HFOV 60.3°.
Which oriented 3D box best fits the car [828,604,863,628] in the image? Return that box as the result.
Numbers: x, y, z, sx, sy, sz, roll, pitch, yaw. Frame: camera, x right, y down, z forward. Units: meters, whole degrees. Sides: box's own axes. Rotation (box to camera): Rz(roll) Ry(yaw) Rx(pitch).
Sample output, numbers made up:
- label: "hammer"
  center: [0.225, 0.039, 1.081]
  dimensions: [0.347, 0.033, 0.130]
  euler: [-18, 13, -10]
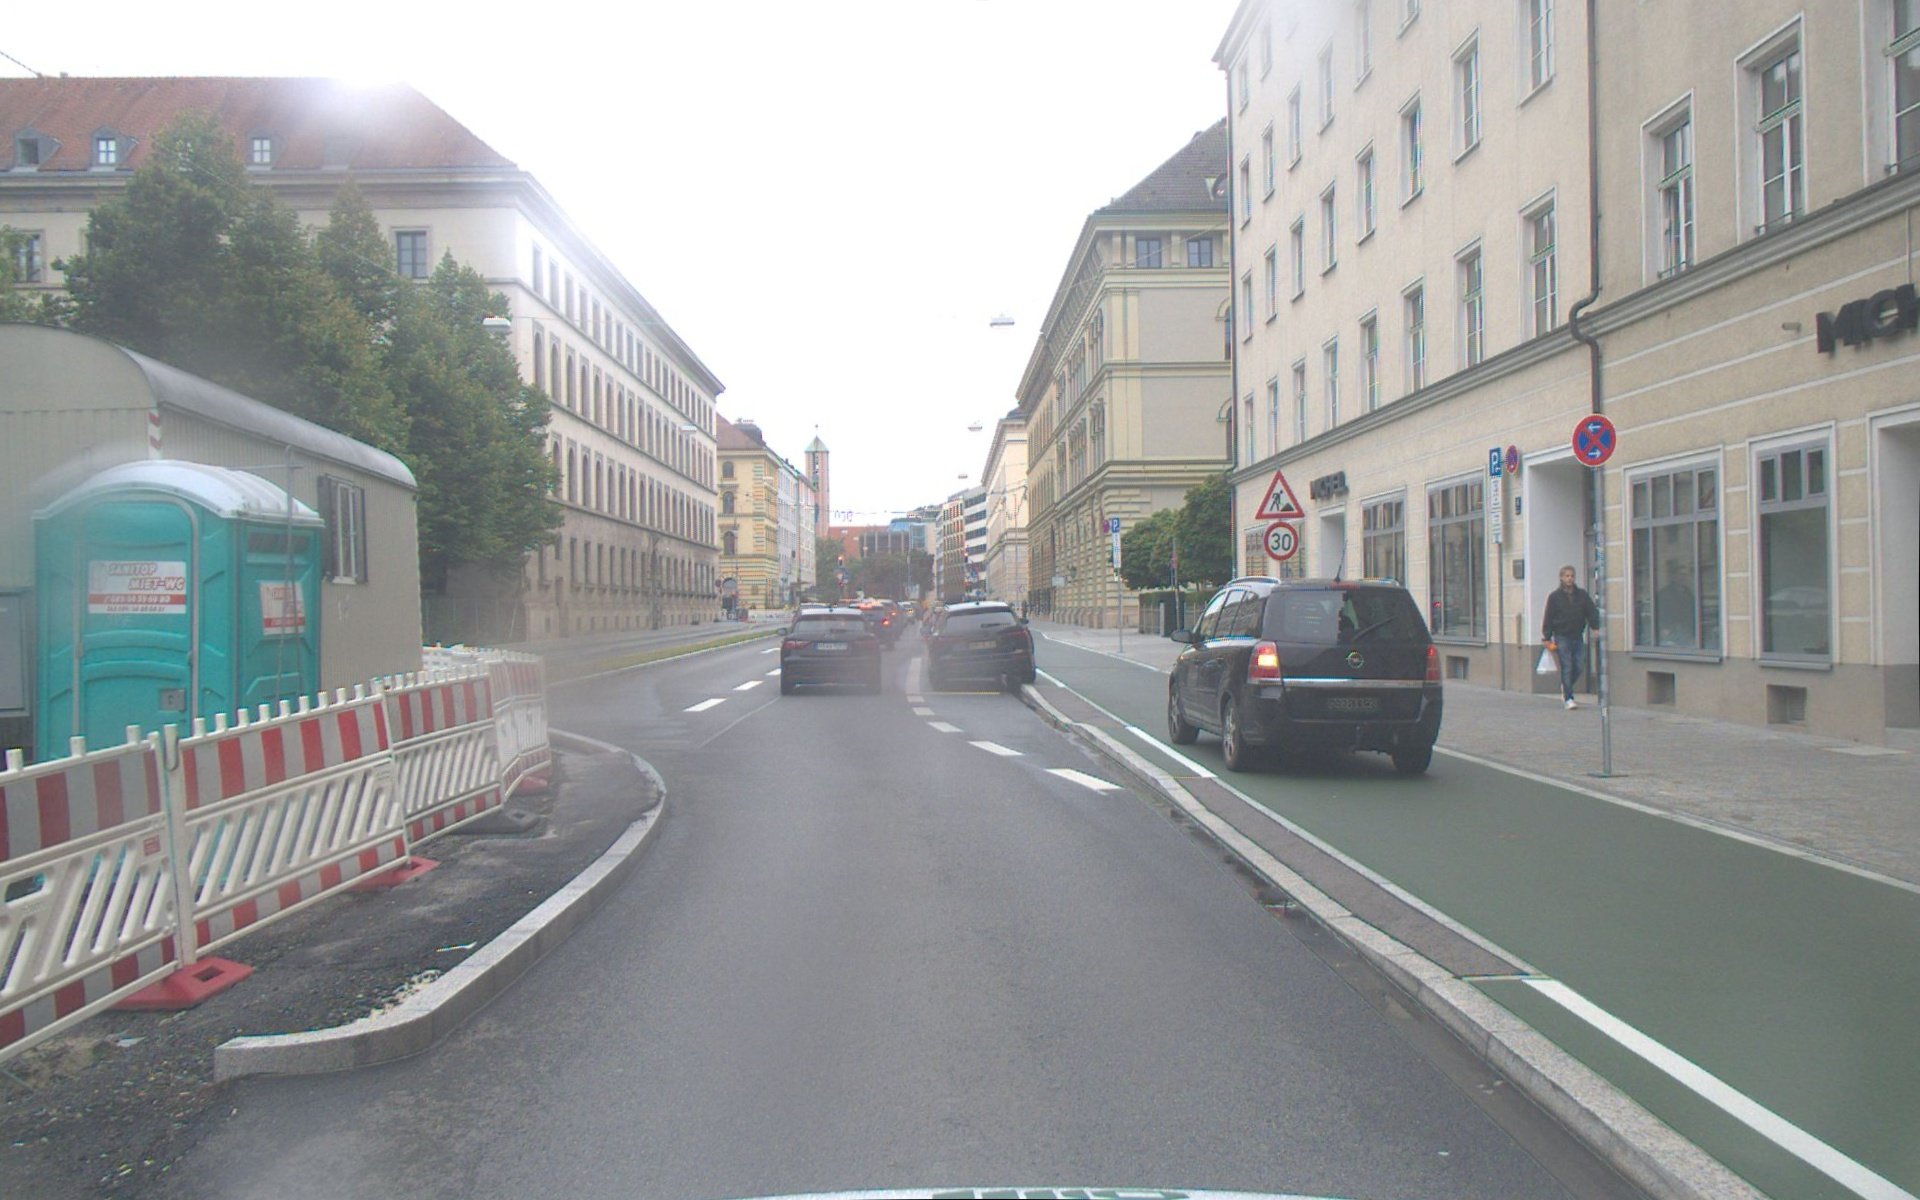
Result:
- label: "car"
  center: [-7.182, 0.984, 103.883]
  dimensions: [1.953, 1.469, 3.999]
  euler: [-1, 0, -1]

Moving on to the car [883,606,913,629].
- label: "car"
  center: [-4.246, 1.197, 114.119]
  dimensions: [1.953, 1.469, 3.999]
  euler: [-1, 0, -1]

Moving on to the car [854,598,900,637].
- label: "car"
  center: [-3.304, 0.676, 66.125]
  dimensions: [1.695, 1.486, 3.999]
  euler: [0, 0, -1]

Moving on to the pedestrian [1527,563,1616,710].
- label: "pedestrian"
  center: [7.638, 0.446, 20.686]
  dimensions: [0.777, 1.776, 0.833]
  euler: [-1, 0, -1]

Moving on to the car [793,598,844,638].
- label: "car"
  center: [-6.234, 0.780, 73.259]
  dimensions: [1.953, 1.656, 3.999]
  euler: [-1, 0, -1]

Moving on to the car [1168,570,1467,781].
- label: "car"
  center: [3.052, 0.593, 14.945]
  dimensions: [1.729, 1.644, 4.028]
  euler: [0, 0, -2]

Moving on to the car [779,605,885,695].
- label: "car"
  center: [-2.190, 0.822, 28.780]
  dimensions: [1.696, 1.427, 3.997]
  euler: [0, 0, -3]

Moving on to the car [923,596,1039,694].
- label: "car"
  center: [0.306, 0.760, 30.318]
  dimensions: [1.773, 1.506, 4.460]
  euler: [-5, 0, -3]

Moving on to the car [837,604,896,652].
- label: "car"
  center: [-2.947, 0.864, 52.676]
  dimensions: [1.695, 1.427, 3.999]
  euler: [0, 0, -1]
